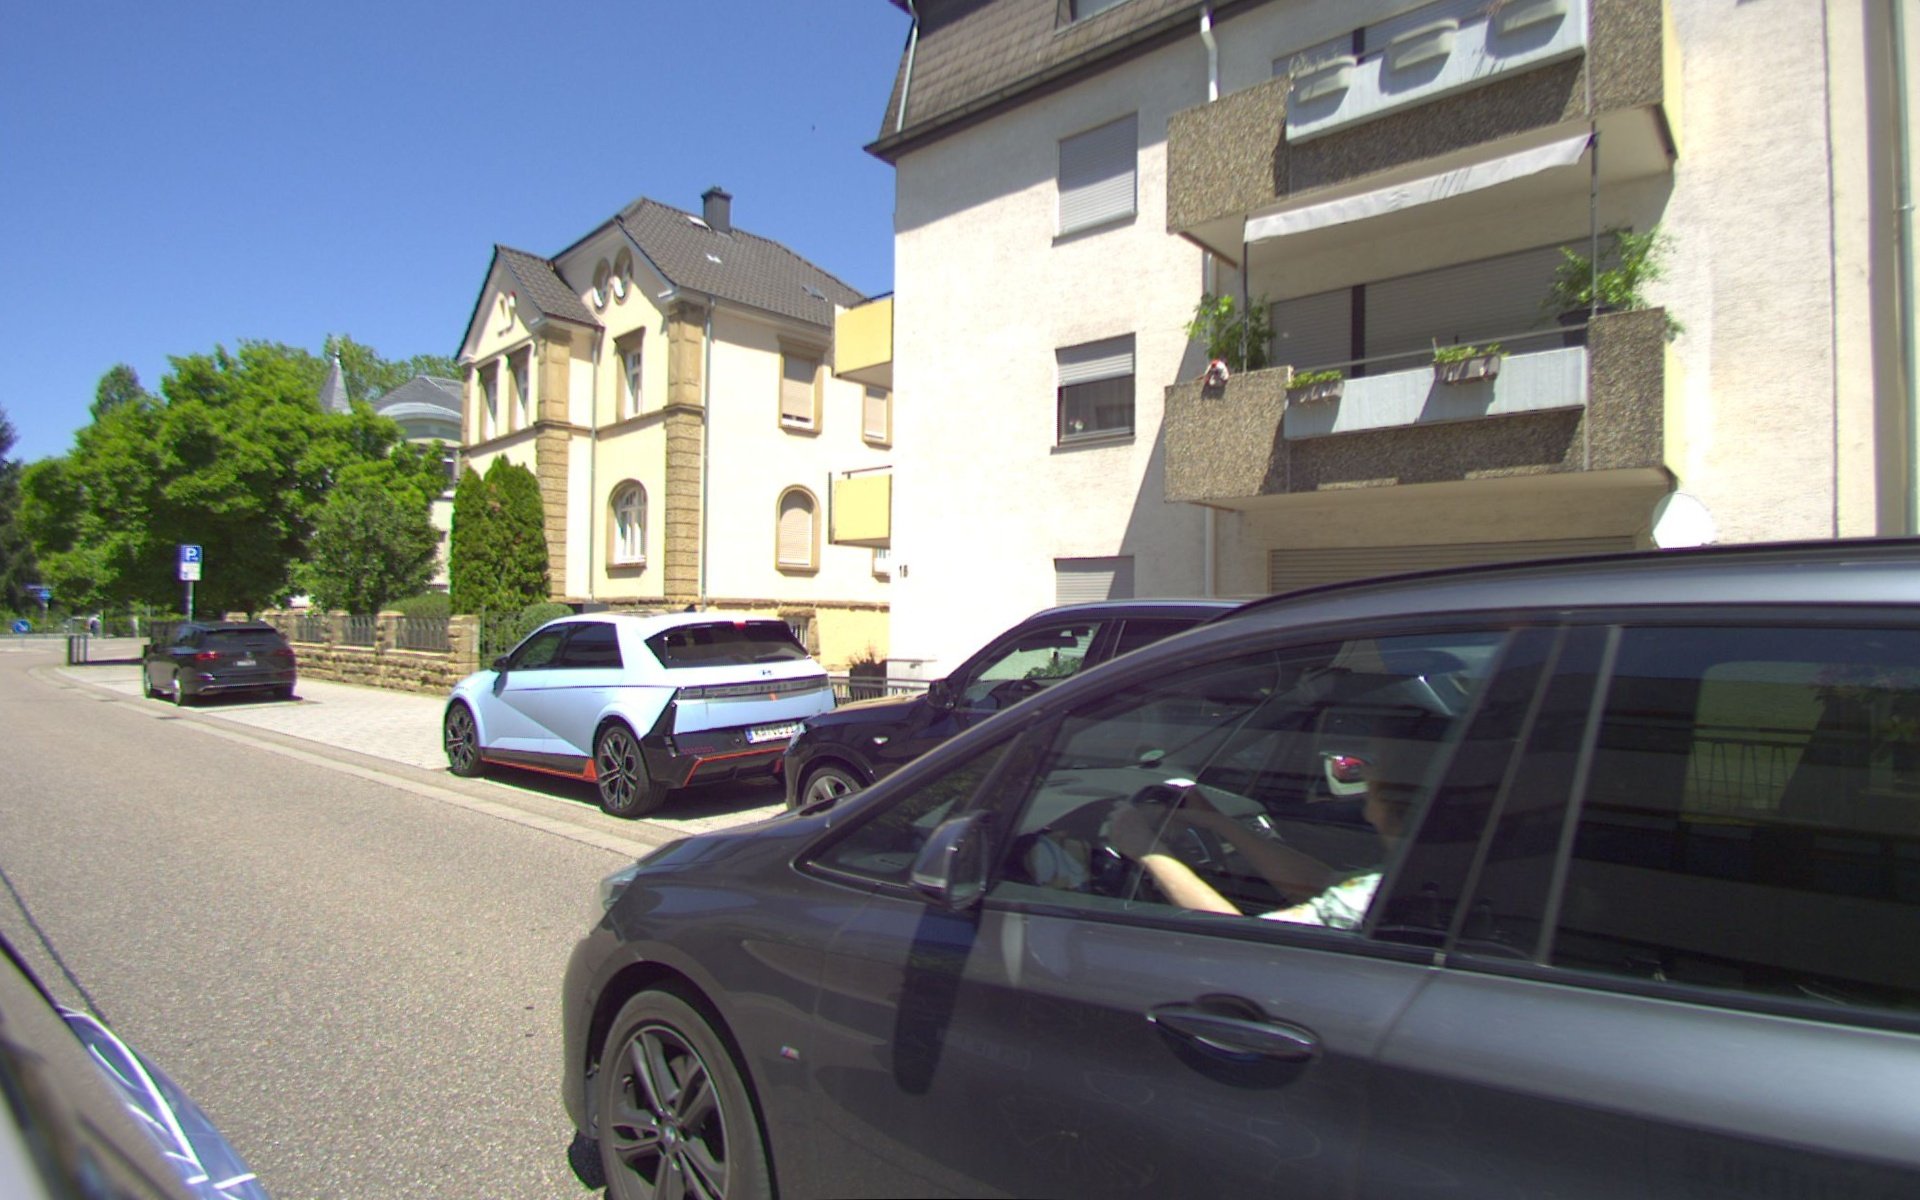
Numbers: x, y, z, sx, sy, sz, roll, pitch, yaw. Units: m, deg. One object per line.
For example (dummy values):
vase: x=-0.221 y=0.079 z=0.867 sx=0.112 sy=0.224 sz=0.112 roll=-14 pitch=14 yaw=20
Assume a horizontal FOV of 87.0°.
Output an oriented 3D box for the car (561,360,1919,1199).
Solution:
car: x=1.280 y=0.654 z=1.848 sx=4.471 sy=1.683 sz=1.953 roll=-1 pitch=-2 yaw=42

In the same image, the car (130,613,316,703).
car: x=-14.081 y=1.010 z=19.230 sx=4.658 sy=1.447 sz=1.905 roll=-1 pitch=1 yaw=42

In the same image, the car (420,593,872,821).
car: x=-3.126 y=0.781 z=9.476 sx=4.658 sy=1.584 sz=1.905 roll=-1 pitch=1 yaw=42

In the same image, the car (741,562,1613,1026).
car: x=0.852 y=0.684 z=5.727 sx=4.570 sy=1.631 sz=1.707 roll=-1 pitch=1 yaw=42

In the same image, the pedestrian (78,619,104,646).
pedestrian: x=-59.031 y=2.217 z=68.748 sx=0.902 sy=1.785 sz=0.915 roll=2 pitch=-1 yaw=1
